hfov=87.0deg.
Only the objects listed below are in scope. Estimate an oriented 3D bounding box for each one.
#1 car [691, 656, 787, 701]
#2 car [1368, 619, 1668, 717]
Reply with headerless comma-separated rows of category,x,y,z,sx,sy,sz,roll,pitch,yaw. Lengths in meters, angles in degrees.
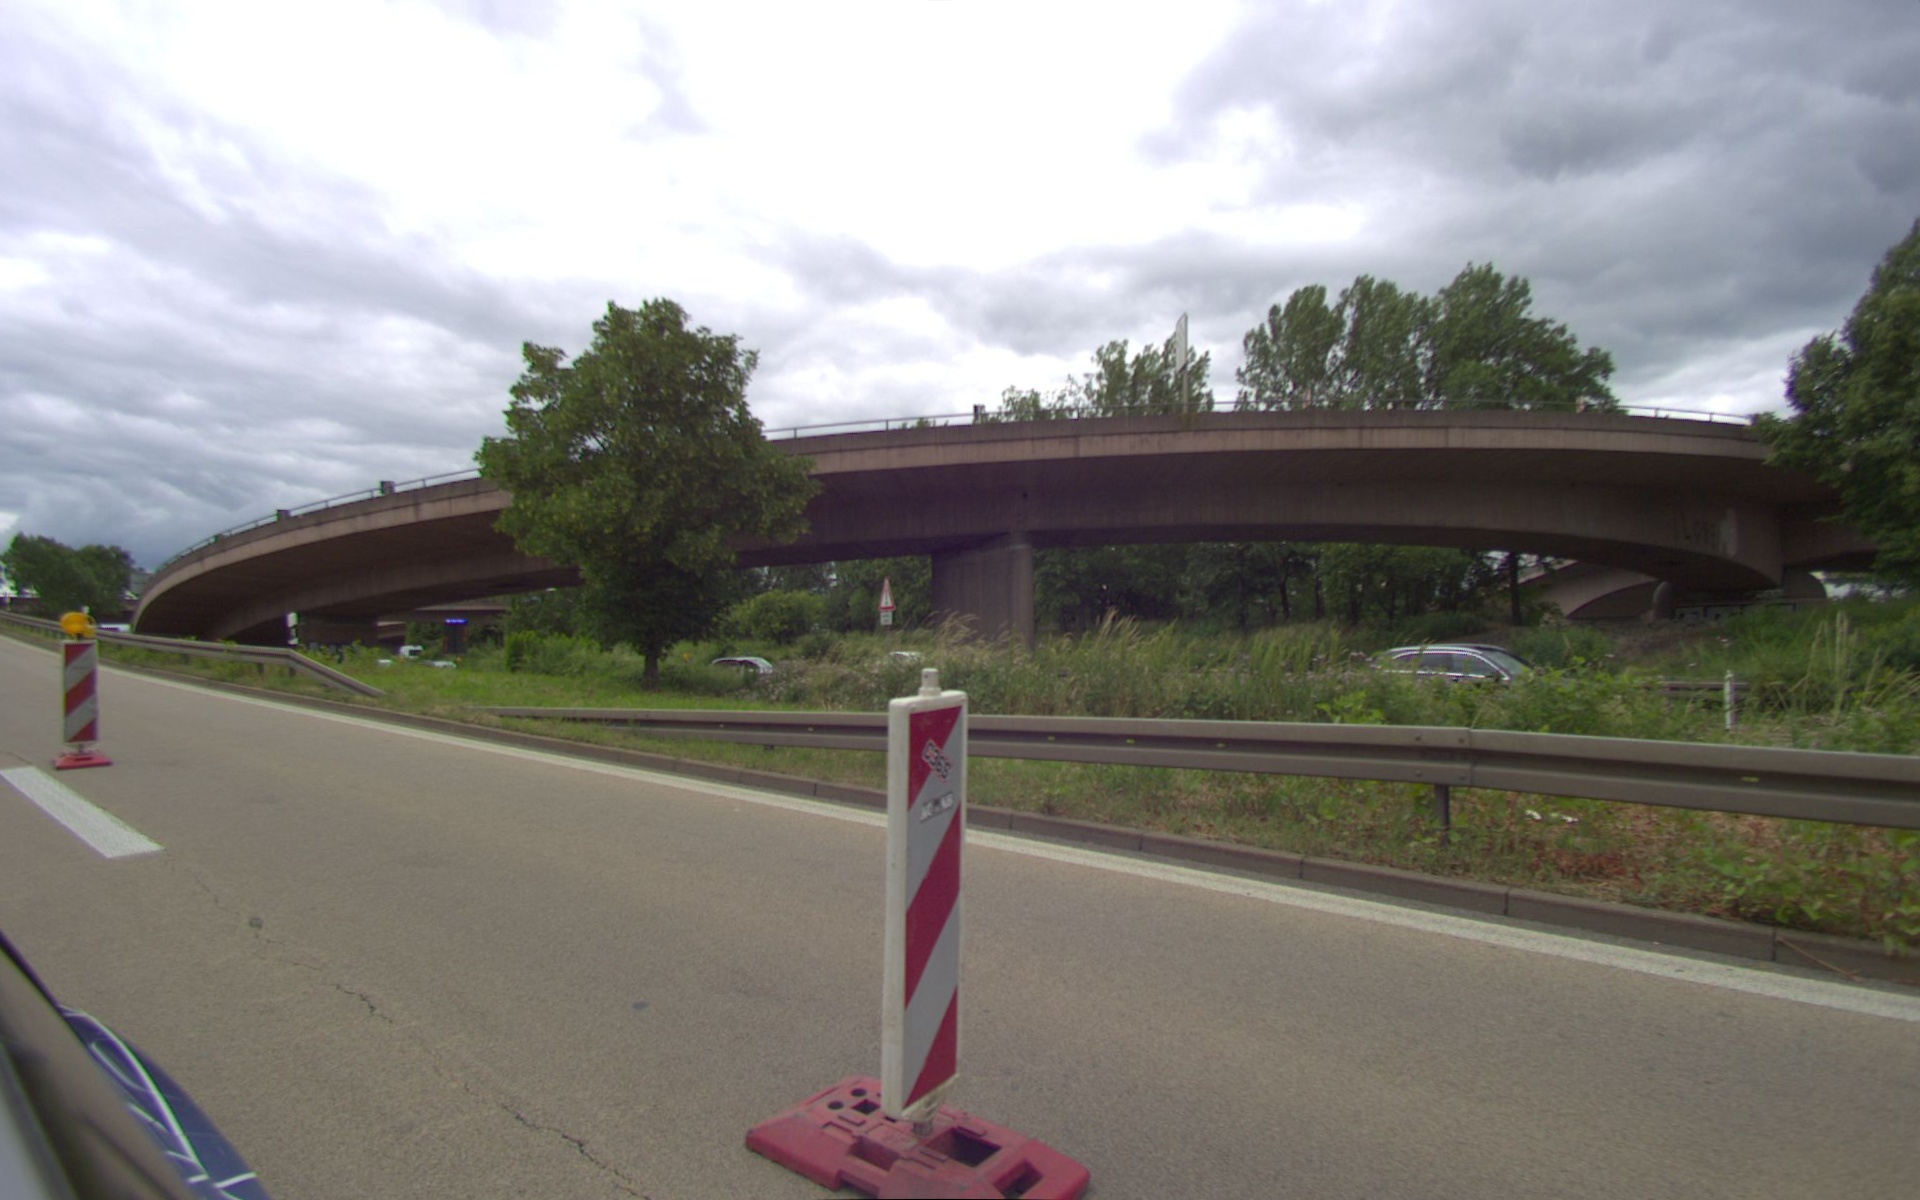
car,-8.951,3.100,40.808,2.012,1.627,4.301,0,-2,-40
car,10.523,1.227,19.390,2.012,1.627,4.585,0,-2,-40
